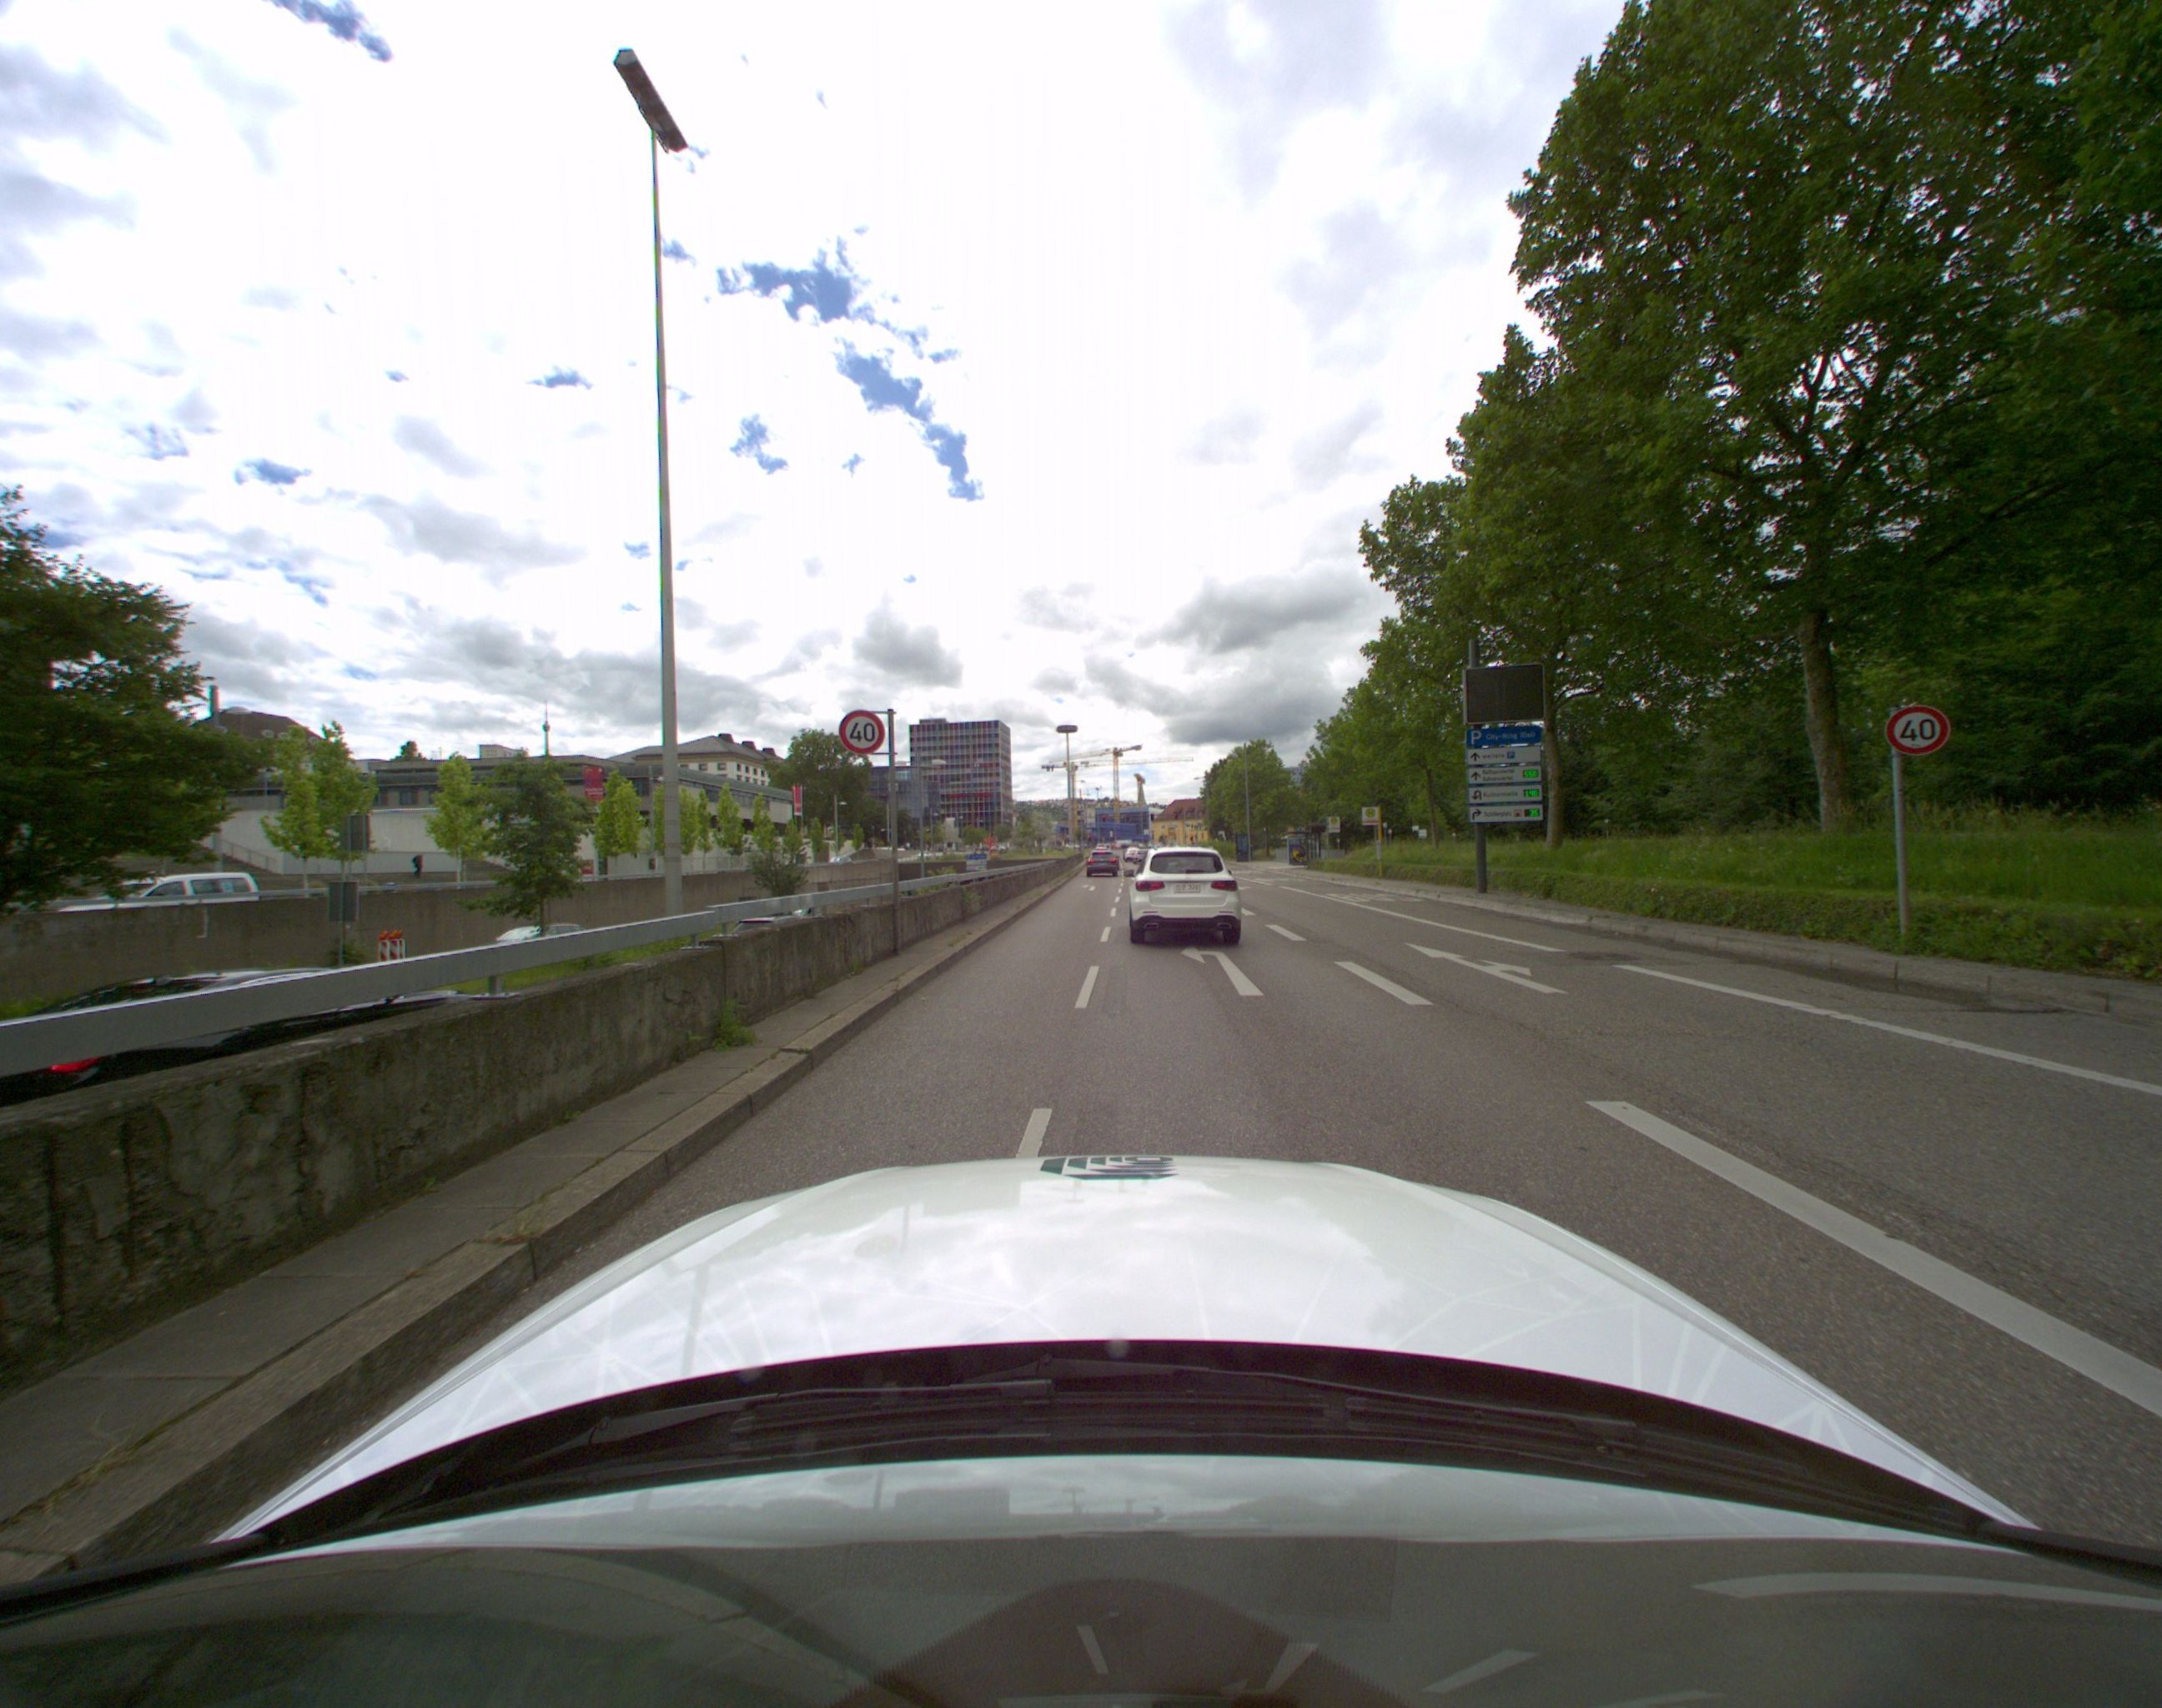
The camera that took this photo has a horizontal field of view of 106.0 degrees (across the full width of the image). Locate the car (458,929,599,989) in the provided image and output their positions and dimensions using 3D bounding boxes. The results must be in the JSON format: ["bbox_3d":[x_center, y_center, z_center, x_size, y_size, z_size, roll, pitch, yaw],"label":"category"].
[{"bbox_3d":[-19.134,3.595,28.483,1.873,1.538,4.576,1,-1,-2],"label":"car"}]

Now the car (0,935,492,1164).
[{"bbox_3d":[-9.568,1.932,9.400,1.987,1.482,4.809,-1,0,0],"label":"car"}]

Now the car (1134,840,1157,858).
[{"bbox_3d":[6.242,-0.441,78.813,1.986,1.662,4.001,1,-1,2],"label":"car"}]

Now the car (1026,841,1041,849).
[{"bbox_3d":[-13.152,-2.567,225.269,3.994,2.014,1.990,1,-1,-15],"label":"car"}]

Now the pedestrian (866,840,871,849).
[{"bbox_3d":[-39.296,-1.748,150.412,0.686,1.729,0.645,0,-1,26],"label":"pedestrian"}]

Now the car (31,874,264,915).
[{"bbox_3d":[-29.388,1.241,25.945,1.803,1.119,4.808,1,-1,1],"label":"car"}]

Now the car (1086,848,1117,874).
[{"bbox_3d":[1.327,0.415,52.222,1.915,1.602,4.002,-1,0,2],"label":"car"}]

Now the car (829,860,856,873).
[{"bbox_3d":[-24.938,1.306,85.380,1.828,1.360,3.864,1,-1,-3],"label":"car"}]

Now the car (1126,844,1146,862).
[{"bbox_3d":[5.942,-0.077,88.057,1.986,1.781,4.001,1,-1,2],"label":"car"}]

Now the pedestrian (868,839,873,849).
[{"bbox_3d":[-36.413,-1.722,140.847,0.686,1.729,0.645,0,-1,29],"label":"pedestrian"}]

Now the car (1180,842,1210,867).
[{"bbox_3d":[8.956,0.053,64.200,1.969,1.893,4.711,1,-1,3],"label":"car"}]

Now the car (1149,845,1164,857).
[{"bbox_3d":[10.317,-0.358,111.087,1.713,1.584,4.000,1,0,1],"label":"car"}]

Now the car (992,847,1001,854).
[{"bbox_3d":[-21.542,-0.920,206.936,1.860,1.618,3.482,1,-1,2],"label":"car"}]

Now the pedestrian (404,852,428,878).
[{"bbox_3d":[-44.908,0.737,55.008,0.639,1.640,1.003,6,-1,2],"label":"pedestrian"}]

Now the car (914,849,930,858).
[{"bbox_3d":[-27.421,-0.098,140.539,1.803,1.427,3.707,1,-1,1],"label":"car"}]

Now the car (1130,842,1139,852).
[{"bbox_3d":[11.629,-1.448,176.287,1.793,2.014,4.001,1,-1,2],"label":"car"}]

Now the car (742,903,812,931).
[{"bbox_3d":[-15.846,3.261,42.760,1.989,1.143,4.845,1,-1,-2],"label":"car"}]

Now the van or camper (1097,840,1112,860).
[{"bbox_3d":[3.024,-0.496,103.606,1.915,2.320,4.001,-1,-2,2],"label":"van or camper"}]

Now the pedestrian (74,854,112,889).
[{"bbox_3d":[-47.669,0.834,39.289,0.639,1.640,0.859,4,-1,2],"label":"pedestrian"}]

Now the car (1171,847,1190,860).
[{"bbox_3d":[13.527,-0.071,110.952,1.989,1.618,3.996,1,-1,-2],"label":"car"}]

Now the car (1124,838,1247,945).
[{"bbox_3d":[1.787,0.631,14.992,1.932,1.684,4.003,-1,-1,3],"label":"car"}]

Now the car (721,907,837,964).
[{"bbox_3d":[-9.857,2.624,27.043,1.804,1.460,4.867,0,-1,3],"label":"car"}]

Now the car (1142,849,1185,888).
[{"bbox_3d":[3.611,0.638,36.165,1.665,1.628,4.003,1,-1,3],"label":"car"}]
